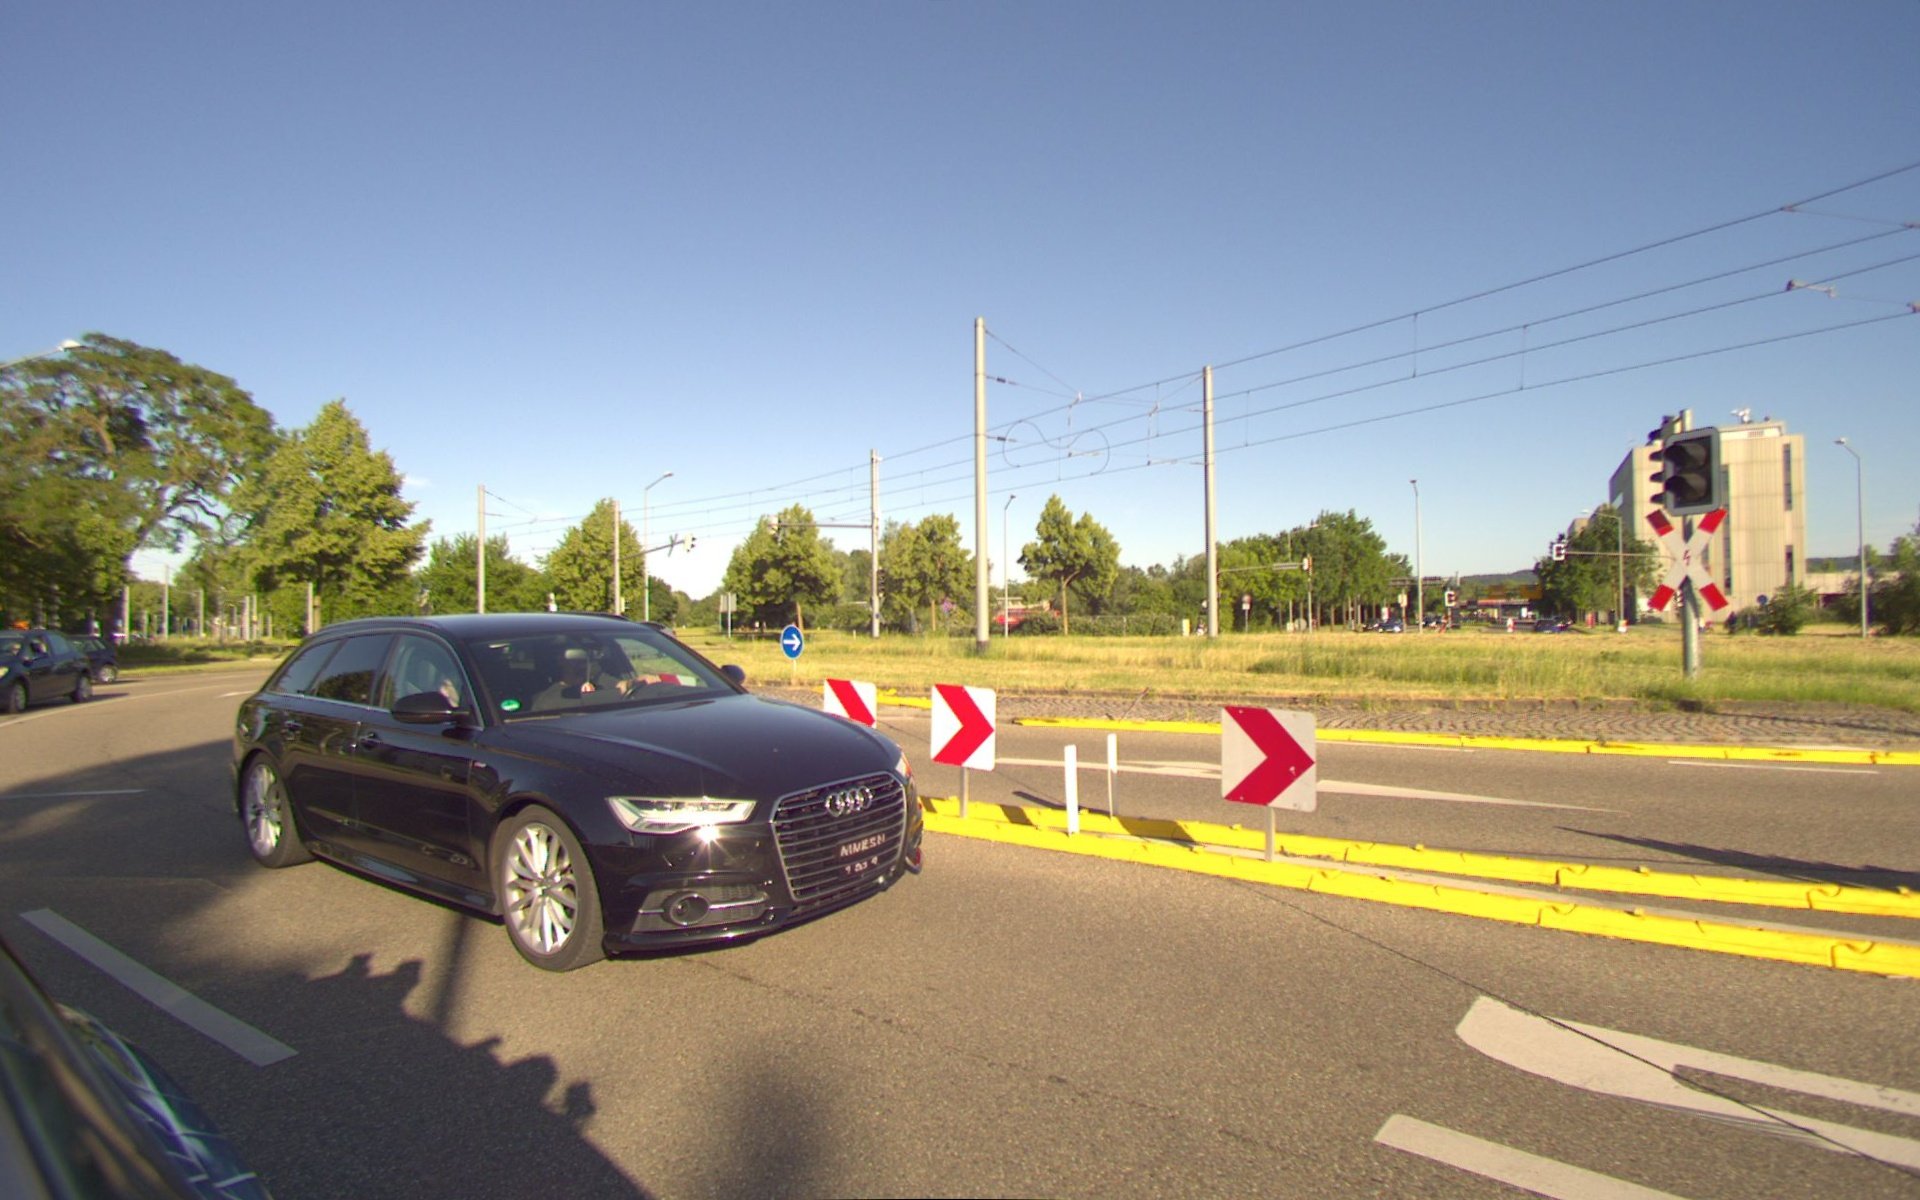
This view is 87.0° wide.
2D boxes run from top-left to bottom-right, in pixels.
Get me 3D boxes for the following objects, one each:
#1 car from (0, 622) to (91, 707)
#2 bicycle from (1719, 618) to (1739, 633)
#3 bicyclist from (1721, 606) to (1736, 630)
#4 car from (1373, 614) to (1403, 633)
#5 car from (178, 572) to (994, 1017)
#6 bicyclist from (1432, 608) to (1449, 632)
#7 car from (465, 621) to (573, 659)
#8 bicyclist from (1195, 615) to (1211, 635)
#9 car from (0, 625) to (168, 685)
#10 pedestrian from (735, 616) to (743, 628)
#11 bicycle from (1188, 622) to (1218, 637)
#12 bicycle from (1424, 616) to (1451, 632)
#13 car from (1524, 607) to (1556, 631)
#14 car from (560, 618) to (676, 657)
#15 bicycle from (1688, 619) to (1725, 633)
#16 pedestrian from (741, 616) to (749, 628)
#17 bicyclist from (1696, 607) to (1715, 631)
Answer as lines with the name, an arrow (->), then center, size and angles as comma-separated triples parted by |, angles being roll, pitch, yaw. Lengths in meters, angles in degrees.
car -> -17.844, 1.174, 18.391 | 1.728, 1.465, 4.012 | -2, -1, -19
bicycle -> 51.878, 1.740, 68.293 | 0.659, 0.995, 2.242 | -2, -1, 26
bicyclist -> 51.848, 1.199, 68.285 | 0.659, 1.592, 0.827 | -2, -2, 27
car -> 37.654, 2.076, 88.943 | 1.950, 1.627, 3.879 | -2, -2, 29
car -> -2.375, 0.673, 5.545 | 5.009, 1.454, 1.776 | -2, 0, 37
bicyclist -> 33.973, 1.419, 71.568 | 0.936, 1.676, 0.699 | -2, -1, 20
car -> -18.897, 1.703, 43.539 | 1.718, 1.390, 4.027 | -4, -1, 30
bicyclist -> 18.632, 1.911, 77.557 | 1.074, 1.573, 0.874 | 0, 0, 7
car -> -25.364, 1.523, 28.951 | 1.617, 1.478, 4.539 | -2, -1, 5
pedestrian -> -27.506, 2.744, 126.174 | 0.680, 1.451, 0.791 | -1, -2, 13
bicycle -> 18.611, 2.244, 77.553 | 2.190, 1.163, 0.874 | 0, 0, 7
bicycle -> 33.792, 1.697, 71.624 | 1.643, 1.137, 0.699 | -2, -1, 21
car -> 45.024, 1.475, 78.583 | 1.765, 1.798, 3.885 | -2, -2, 25
car -> -14.395, 1.544, 42.856 | 1.929, 1.390, 4.491 | -4, -1, 29
bicycle -> 47.126, 1.671, 63.902 | 1.885, 0.859, 0.610 | -2, -2, 36
pedestrian -> -26.634, 2.702, 125.589 | 0.680, 1.451, 0.791 | -1, -2, 13
bicyclist -> 47.075, 1.205, 63.943 | 0.923, 1.528, 0.610 | -2, -2, 36
